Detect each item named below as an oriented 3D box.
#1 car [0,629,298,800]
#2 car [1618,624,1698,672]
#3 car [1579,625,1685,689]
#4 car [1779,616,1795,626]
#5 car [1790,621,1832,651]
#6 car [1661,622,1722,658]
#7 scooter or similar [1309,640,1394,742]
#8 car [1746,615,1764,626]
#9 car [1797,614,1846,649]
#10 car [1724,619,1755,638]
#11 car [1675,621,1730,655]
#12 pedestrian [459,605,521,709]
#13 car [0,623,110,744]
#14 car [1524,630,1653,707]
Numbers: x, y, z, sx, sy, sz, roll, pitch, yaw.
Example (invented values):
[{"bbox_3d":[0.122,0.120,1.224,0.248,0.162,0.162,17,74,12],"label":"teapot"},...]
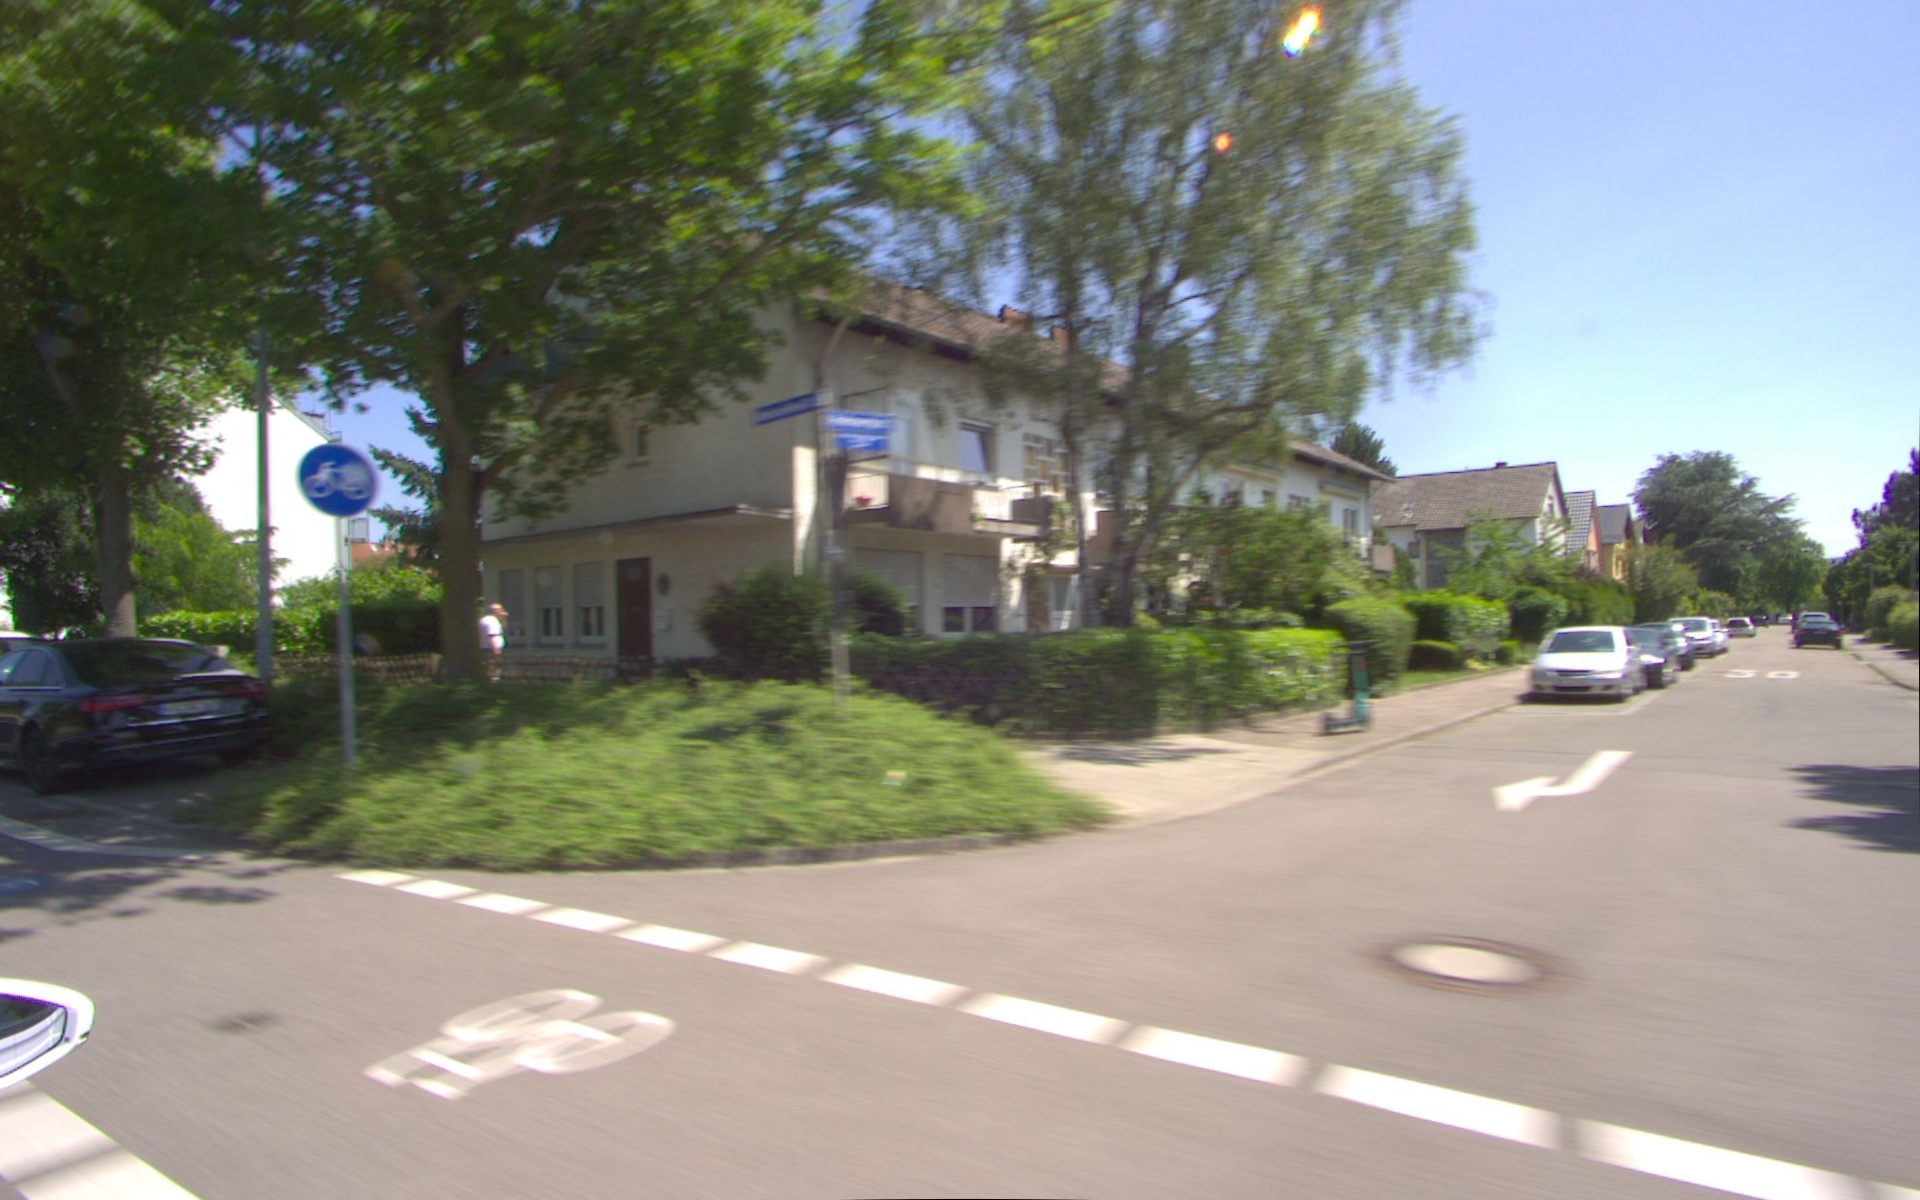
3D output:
[{"bbox_3d":[-9.585,1.094,11.087,4.753,1.455,1.837,-1,1,31],"label":"car"},{"bbox_3d":[21.436,1.433,30.694,1.701,1.363,3.765,-1,-1,40],"label":"car"},{"bbox_3d":[15.795,1.267,23.476,1.701,1.363,3.765,-1,-1,40],"label":"car"},{"bbox_3d":[111.668,2.838,135.197,1.701,1.363,3.765,-1,-1,40],"label":"car"},{"bbox_3d":[46.561,1.949,54.850,1.700,1.603,3.765,-1,-1,40],"label":"car"},{"bbox_3d":[28.643,1.529,39.175,1.701,1.363,3.765,-1,-1,40],"label":"car"},{"bbox_3d":[5.259,1.188,13.447,1.176,1.287,0.596,0,-1,-42],"label":"scooter or similar"},{"bbox_3d":[97.006,2.481,122.150,1.701,1.363,3.765,-1,-1,40],"label":"car"},{"bbox_3d":[41.494,1.519,48.297,1.700,1.603,3.765,-1,-1,40],"label":"car"},{"bbox_3d":[57.115,2.088,73.385,1.701,1.363,3.765,-1,-1,40],"label":"car"},{"bbox_3d":[31.667,1.598,42.664,1.701,1.363,3.765,-1,-1,40],"label":"car"},{"bbox_3d":[-8.067,0.962,17.207,0.623,1.744,0.747,0,-1,26],"label":"pedestrian"},{"bbox_3d":[-14.478,1.161,14.603,4.143,1.550,1.837,-1,2,30],"label":"car"},{"bbox_3d":[12.524,1.279,19.868,1.701,1.363,3.765,-1,-1,40],"label":"car"}]
